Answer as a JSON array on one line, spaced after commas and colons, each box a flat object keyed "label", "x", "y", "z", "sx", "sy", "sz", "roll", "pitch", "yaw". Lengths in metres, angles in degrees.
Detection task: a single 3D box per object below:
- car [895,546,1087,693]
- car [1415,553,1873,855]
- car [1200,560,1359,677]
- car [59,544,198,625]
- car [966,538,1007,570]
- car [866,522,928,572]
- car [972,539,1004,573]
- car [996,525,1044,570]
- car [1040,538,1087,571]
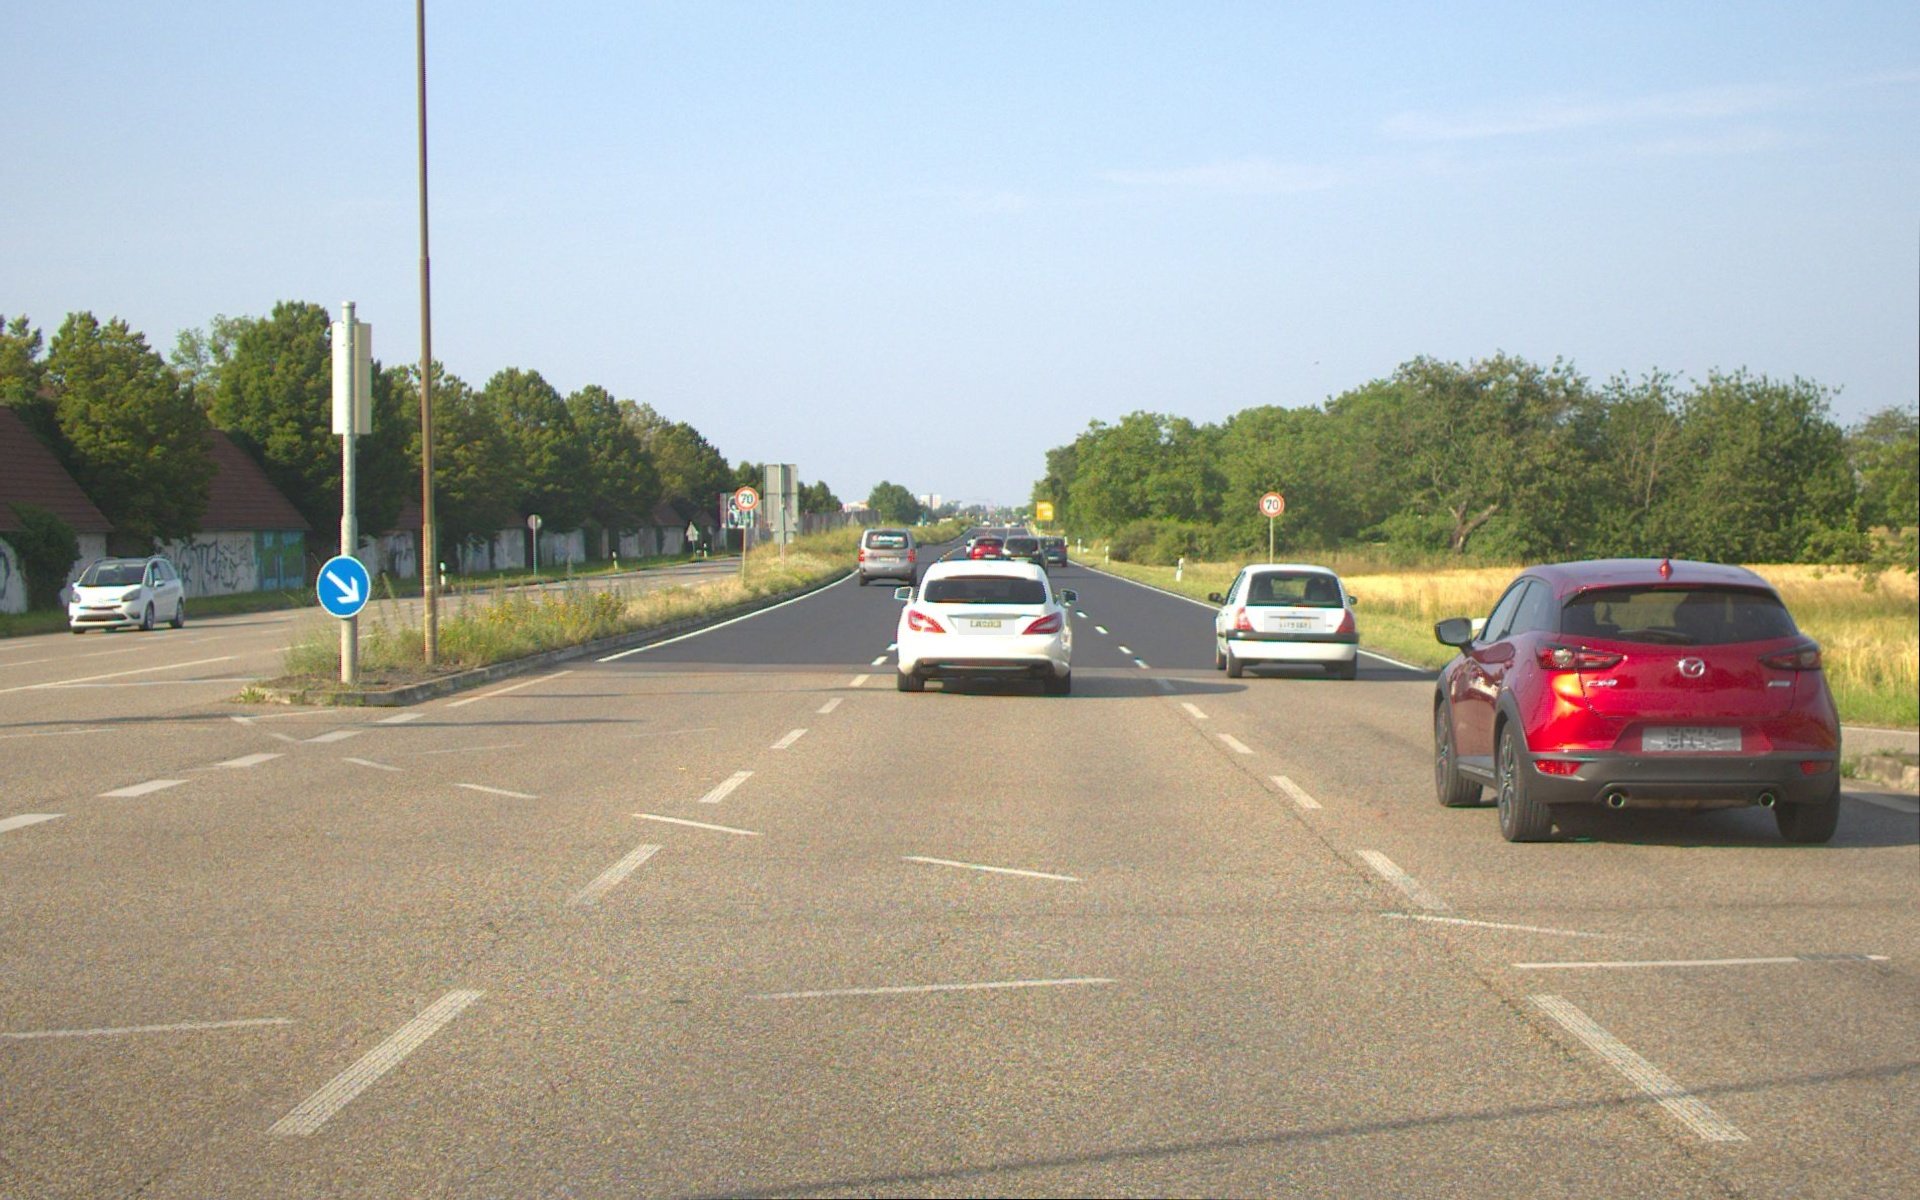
[{"label": "car", "x": 0.349, "y": 0.187, "z": 37.999, "sx": 1.993, "sy": 1.511, "sz": 4.000, "roll": 1, "pitch": 1, "yaw": 1}, {"label": "car", "x": 3.749, "y": 0.502, "z": 19.602, "sx": 1.704, "sy": 1.500, "sz": 4.501, "roll": 1, "pitch": 1, "yaw": 0}, {"label": "car", "x": 3.962, "y": 0.203, "z": 43.143, "sx": 1.617, "sy": 1.382, "sz": 3.951, "roll": 1, "pitch": 1, "yaw": 0}, {"label": "car", "x": -18.914, "y": -0.363, "z": 78.404, "sx": 1.836, "sy": 1.701, "sz": 4.757, "roll": -3, "pitch": 0, "yaw": 1}, {"label": "car", "x": 1.198, "y": -2.092, "z": 156.664, "sx": 1.812, "sy": 1.431, "sz": 3.858, "roll": 1, "pitch": 1, "yaw": 0}, {"label": "car", "x": -2.061, "y": -1.730, "z": 113.176, "sx": 1.758, "sy": 1.612, "sz": 4.000, "roll": 1, "pitch": 1, "yaw": 3}, {"label": "car", "x": 1.687, "y": -2.607, "z": 205.002, "sx": 1.839, "sy": 2.007, "sz": 4.000, "roll": 1, "pitch": 1, "yaw": 1}, {"label": "car", "x": 2.343, "y": -2.068, "z": 135.624, "sx": 1.828, "sy": 1.722, "sz": 4.000, "roll": 1, "pitch": 1, "yaw": 0}, {"label": "car", "x": 5.068, "y": -2.234, "z": 168.131, "sx": 1.993, "sy": 1.579, "sz": 4.285, "roll": 1, "pitch": 1, "yaw": -2}]
